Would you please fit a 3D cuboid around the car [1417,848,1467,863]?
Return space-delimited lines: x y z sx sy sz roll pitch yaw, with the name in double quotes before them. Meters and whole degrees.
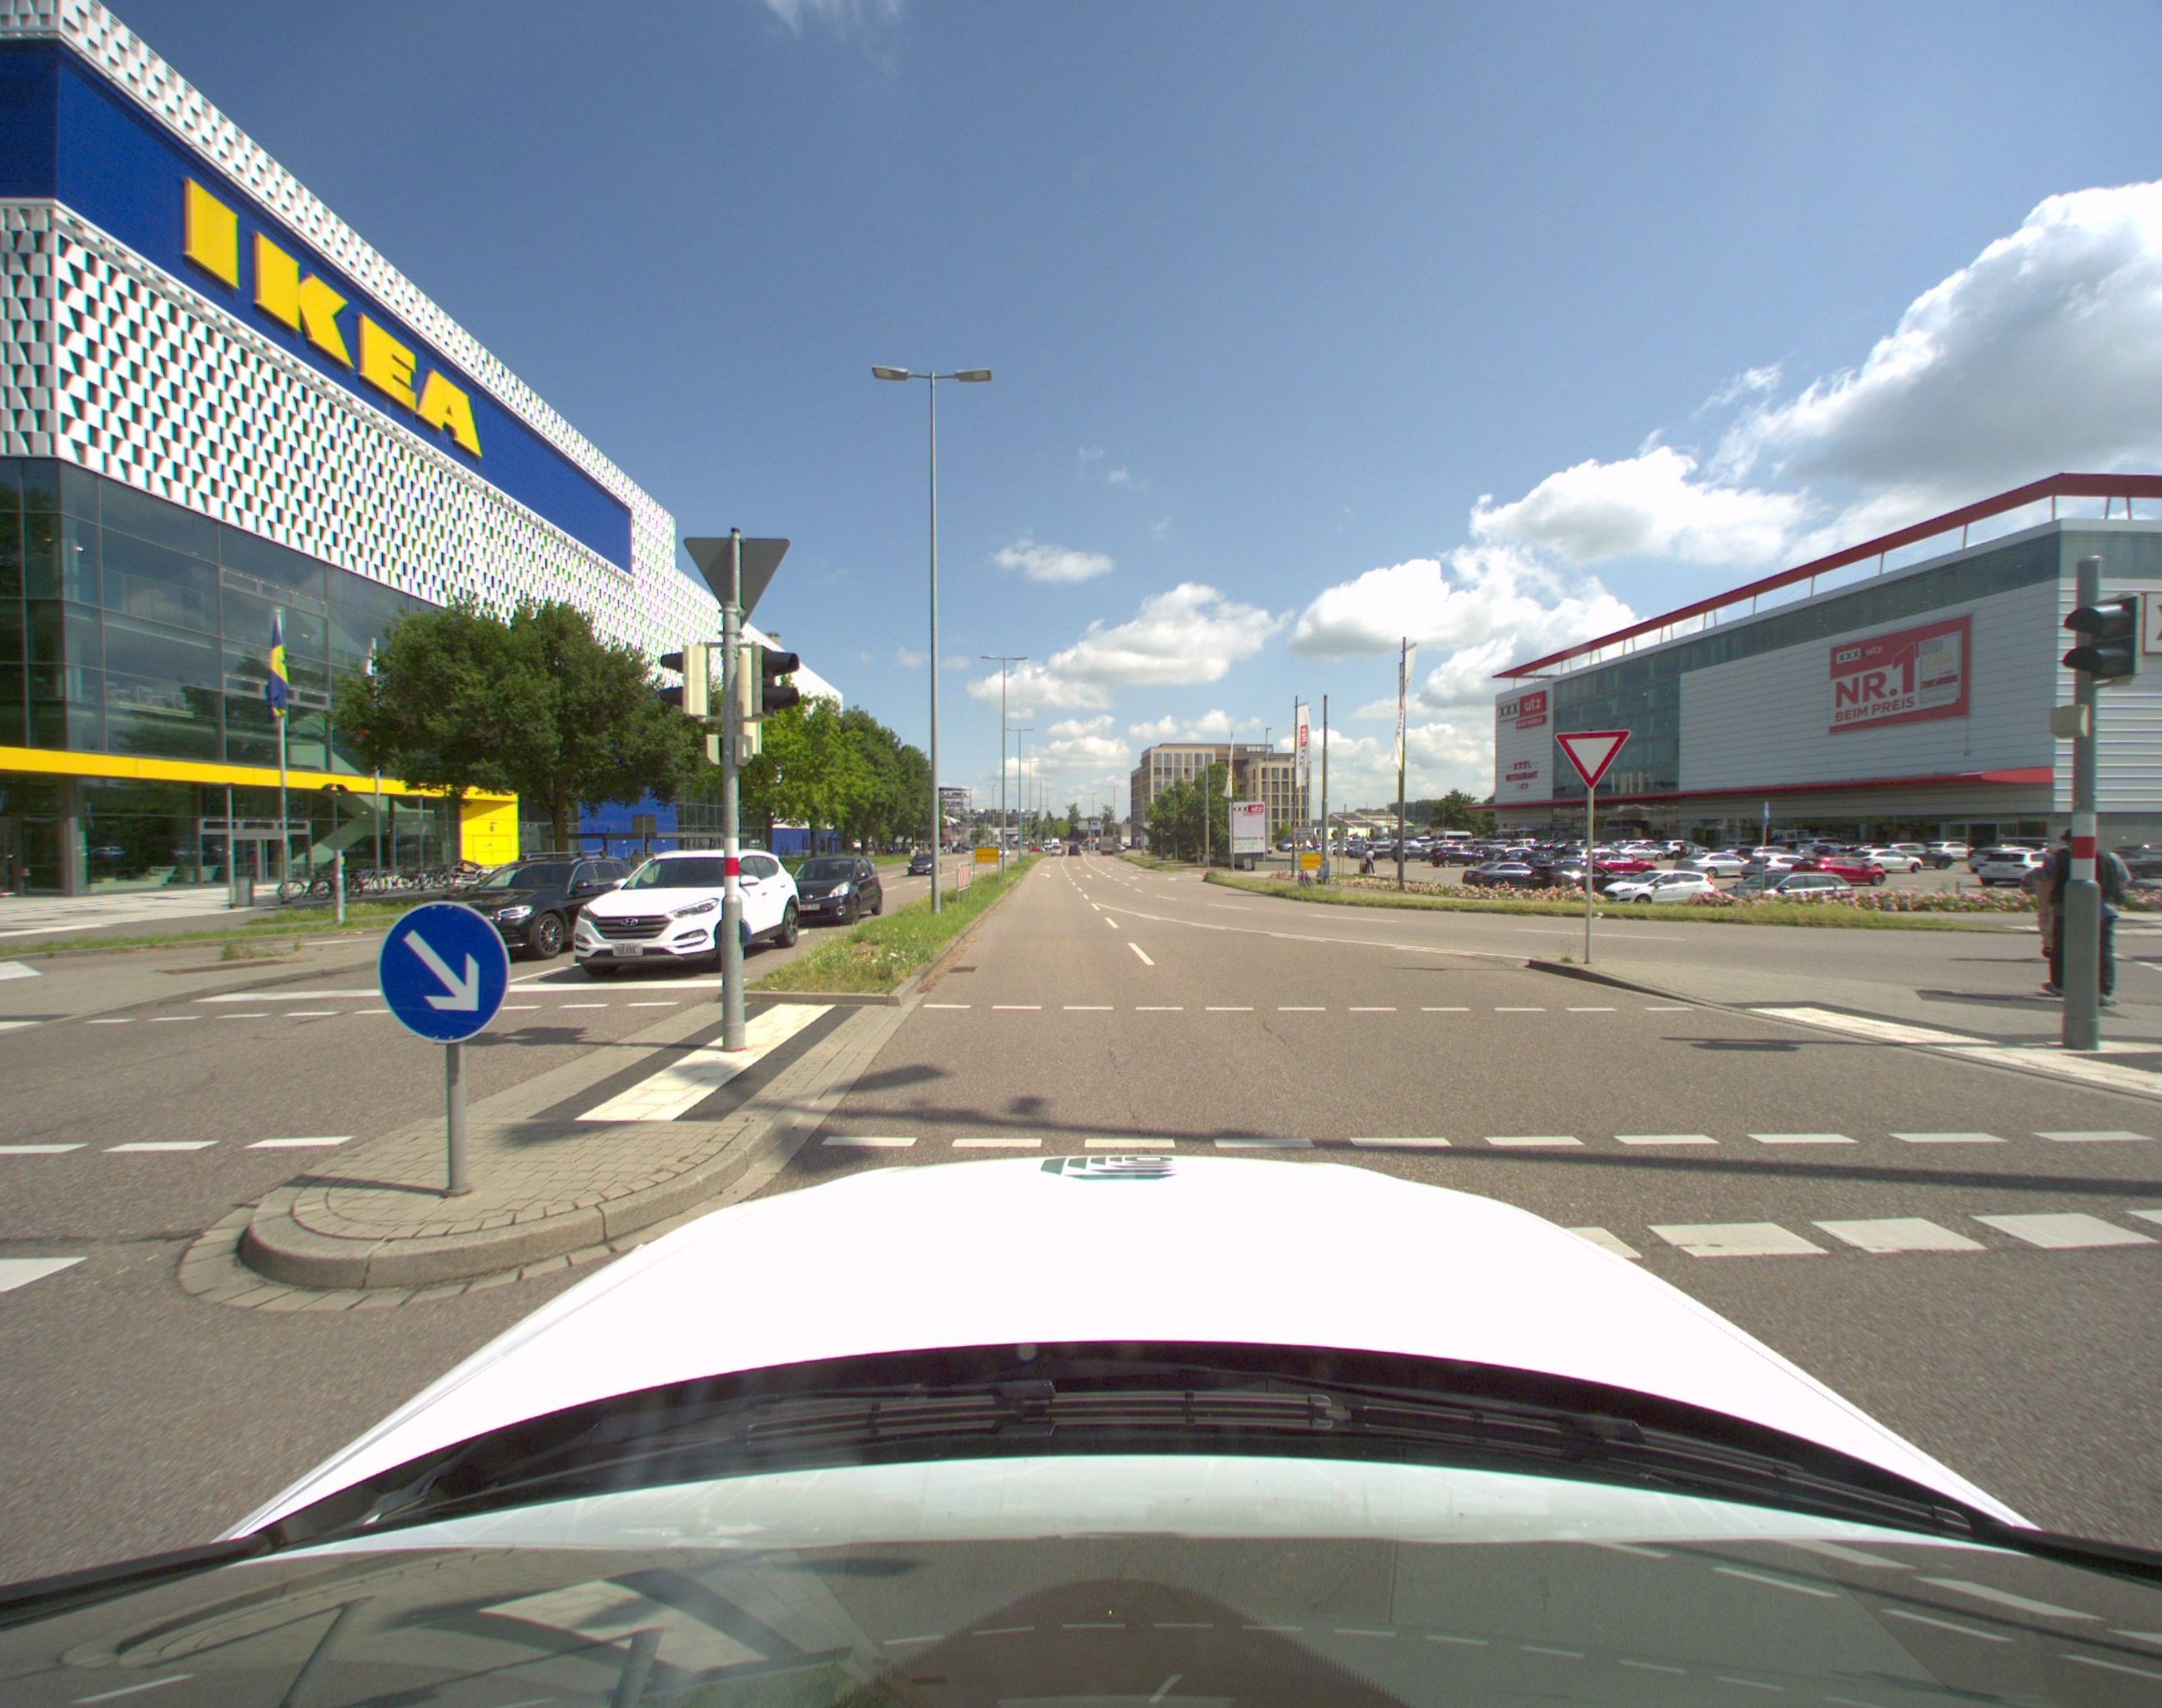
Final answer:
"car" 36.383 0.134 82.105 4.230 1.464 1.758 1 1 -4

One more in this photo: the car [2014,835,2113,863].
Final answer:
"car" 63.140 -0.333 52.379 3.974 1.738 2.000 1 1 -1

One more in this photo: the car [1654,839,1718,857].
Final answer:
"car" 52.091 -0.512 70.120 4.329 1.511 1.704 1 1 -3

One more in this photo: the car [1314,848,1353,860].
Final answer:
"car" 30.792 -0.001 99.472 4.177 1.389 1.889 -1 1 -6

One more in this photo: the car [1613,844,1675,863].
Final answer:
"car" 46.664 -0.067 67.574 4.147 1.511 1.702 0 1 -6

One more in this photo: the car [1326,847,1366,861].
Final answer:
"car" 30.833 0.056 94.699 3.980 1.571 1.997 1 0 -5

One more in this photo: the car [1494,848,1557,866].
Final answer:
"car" 36.755 0.238 67.356 4.278 1.427 1.758 0 2 -2

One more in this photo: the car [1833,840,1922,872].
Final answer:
"car" 52.326 0.125 53.554 3.976 2.014 1.999 0 -1 -2

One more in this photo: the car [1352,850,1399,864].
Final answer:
"car" 31.410 0.276 86.959 4.350 1.325 1.762 -1 1 -4

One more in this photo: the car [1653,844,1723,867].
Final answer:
"car" 44.730 0.090 60.029 4.006 1.587 1.693 0 1 -4

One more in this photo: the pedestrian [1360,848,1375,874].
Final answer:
"pedestrian" 19.979 0.474 56.787 0.861 1.782 0.789 1 1 28

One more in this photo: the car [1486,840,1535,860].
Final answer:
"car" 43.523 -0.392 82.620 3.976 2.013 1.999 1 1 -2

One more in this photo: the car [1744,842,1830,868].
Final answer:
"car" 46.571 0.069 53.779 3.974 1.739 2.000 0 0 -1

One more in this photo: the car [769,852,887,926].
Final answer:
"car" -5.766 0.743 19.065 1.600 1.493 4.128 -2 0 -3

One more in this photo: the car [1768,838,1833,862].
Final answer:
"car" 62.387 -0.327 70.663 3.979 2.013 1.998 1 1 -4

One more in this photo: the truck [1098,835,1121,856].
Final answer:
"truck" 5.544 -1.629 157.120 3.109 3.940 8.886 1 1 11

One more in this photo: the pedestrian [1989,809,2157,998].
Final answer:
"pedestrian" 9.997 0.470 8.251 0.812 1.802 0.764 -1 0 25

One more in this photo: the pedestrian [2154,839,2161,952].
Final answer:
"pedestrian" 14.933 0.561 10.860 0.580 1.524 0.470 -1 0 6

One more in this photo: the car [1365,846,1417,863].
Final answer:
"car" 31.005 0.038 81.537 4.350 1.574 2.028 -1 1 -4

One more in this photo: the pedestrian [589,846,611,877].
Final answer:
"pedestrian" -28.168 0.443 47.685 0.752 1.822 0.886 1 0 -2

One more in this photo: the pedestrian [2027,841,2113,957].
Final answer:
"pedestrian" 13.310 0.589 10.973 0.552 1.524 0.470 1 1 6

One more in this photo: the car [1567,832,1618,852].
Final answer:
"car" 52.350 -1.241 83.423 3.977 2.013 1.998 1 1 -3

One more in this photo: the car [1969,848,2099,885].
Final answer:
"car" 44.080 0.561 37.708 4.218 1.587 1.850 0 1 -6

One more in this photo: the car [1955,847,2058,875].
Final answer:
"car" 52.695 0.370 46.422 3.980 1.530 1.917 1 1 -5

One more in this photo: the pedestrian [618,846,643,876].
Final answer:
"pedestrian" -26.459 0.419 47.801 0.948 1.702 0.886 1 0 -2

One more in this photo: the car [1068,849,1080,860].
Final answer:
"car" -1.125 0.026 142.522 1.812 1.808 4.003 1 0 3

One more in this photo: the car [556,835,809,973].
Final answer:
"car" -5.583 0.629 12.116 1.704 1.620 4.374 -2 -1 -2

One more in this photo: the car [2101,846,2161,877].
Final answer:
"car" 53.250 0.380 40.102 3.980 1.441 1.917 1 0 -5

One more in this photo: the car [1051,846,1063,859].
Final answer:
"car" -3.918 -0.281 133.075 1.851 2.018 3.998 1 1 -2

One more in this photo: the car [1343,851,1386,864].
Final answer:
"car" 31.043 0.348 89.267 4.173 1.325 1.686 -1 1 -3

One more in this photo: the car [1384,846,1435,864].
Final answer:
"car" 31.077 0.053 77.108 4.174 1.552 1.762 -1 1 -4

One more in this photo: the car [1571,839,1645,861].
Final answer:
"car" 37.232 -0.282 57.603 4.138 1.508 1.825 1 1 -2

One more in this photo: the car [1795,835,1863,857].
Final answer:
"car" 62.308 -0.676 67.850 3.979 1.723 1.998 1 1 -4

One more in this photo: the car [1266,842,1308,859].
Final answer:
"car" 30.289 -0.493 119.678 5.647 2.366 2.059 1 0 -4

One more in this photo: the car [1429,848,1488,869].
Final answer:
"car" 30.889 0.352 66.645 4.048 1.531 1.739 -1 0 -6

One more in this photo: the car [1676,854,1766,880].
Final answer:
"car" 37.057 0.750 47.187 4.012 1.362 1.602 -1 1 -1

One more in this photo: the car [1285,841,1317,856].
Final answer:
"car" 31.011 -0.728 114.857 3.976 2.013 1.999 -1 1 -2
